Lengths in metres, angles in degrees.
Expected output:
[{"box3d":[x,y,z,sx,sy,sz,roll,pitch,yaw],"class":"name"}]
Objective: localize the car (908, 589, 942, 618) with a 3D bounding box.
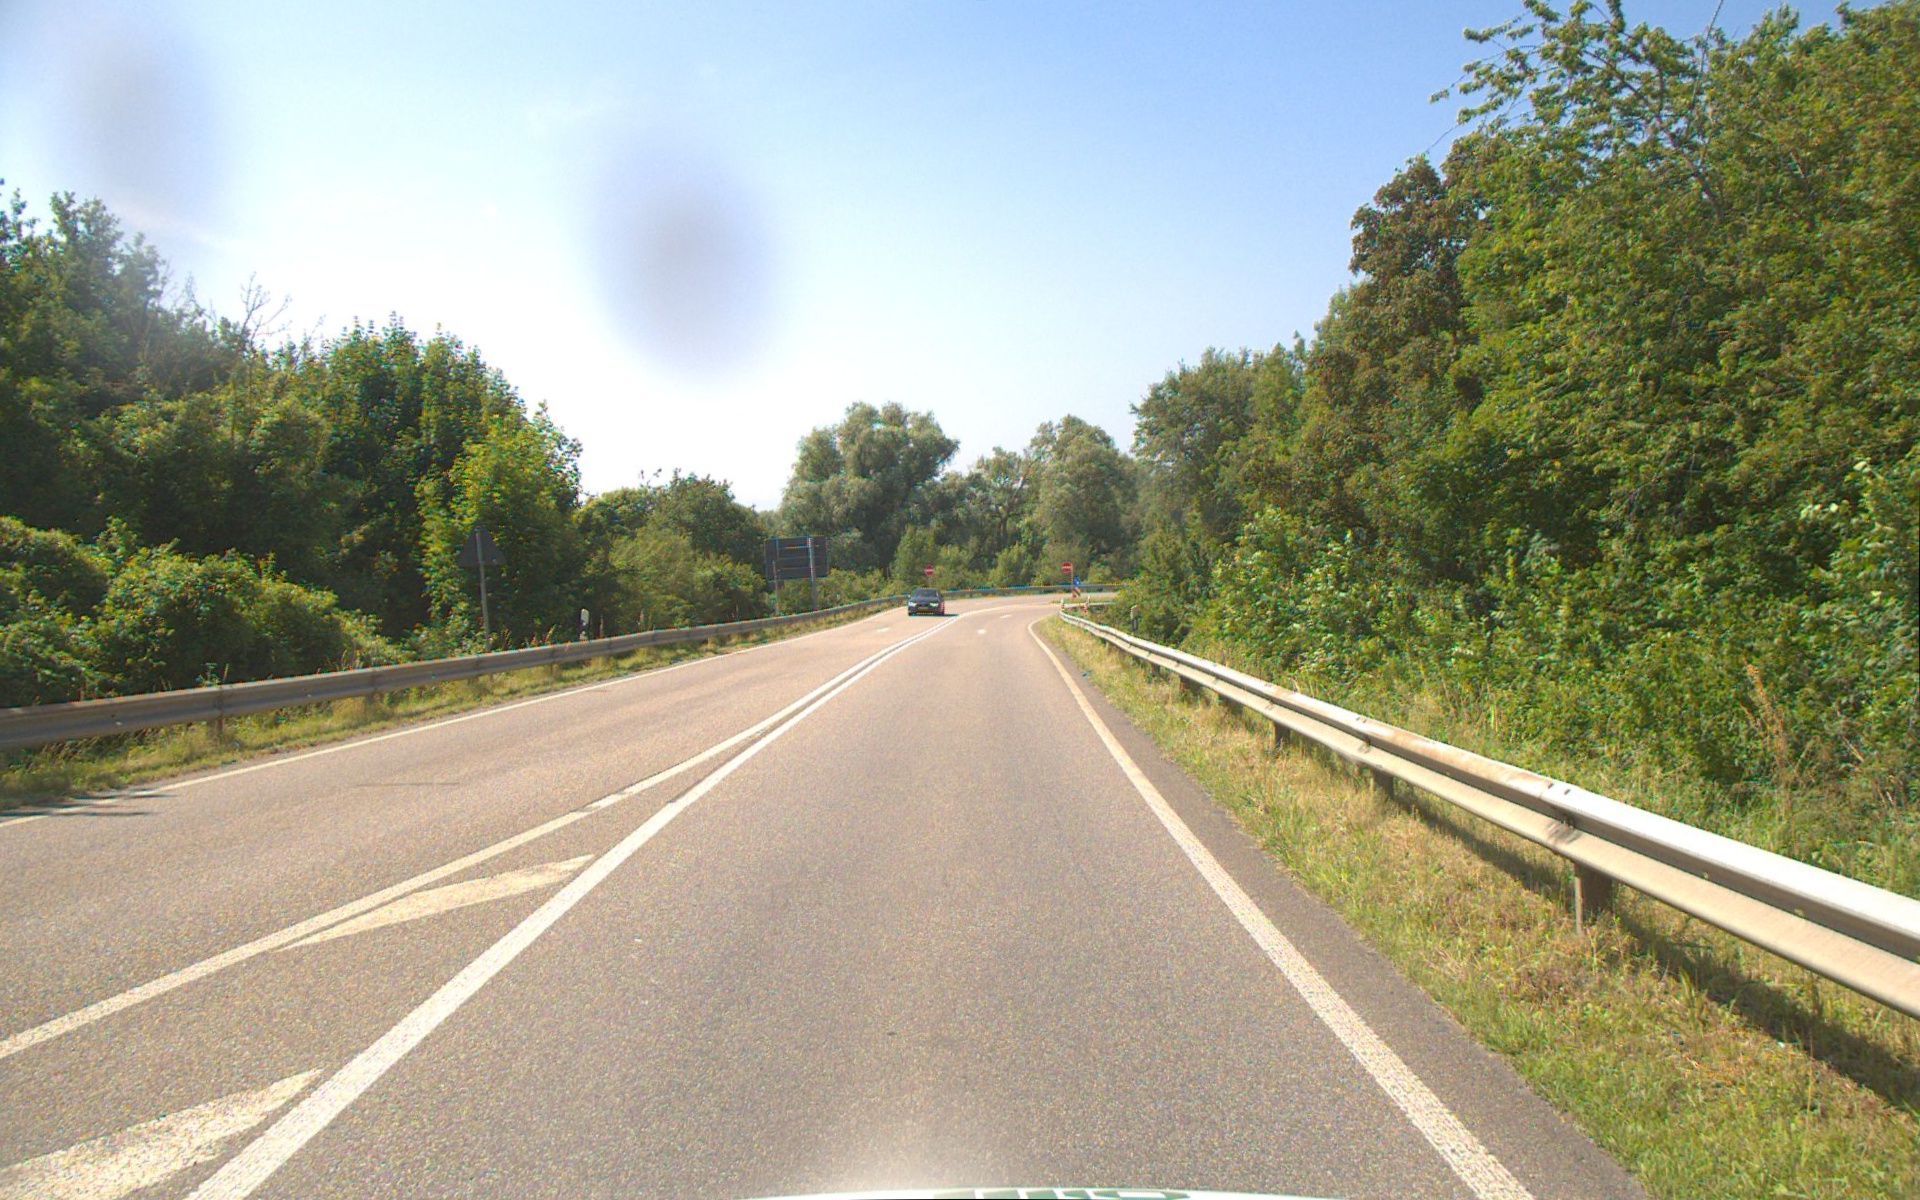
[{"box3d":[-1.886,0.178,89.798,1.574,1.498,4.221,-1,0,2],"class":"car"}]
